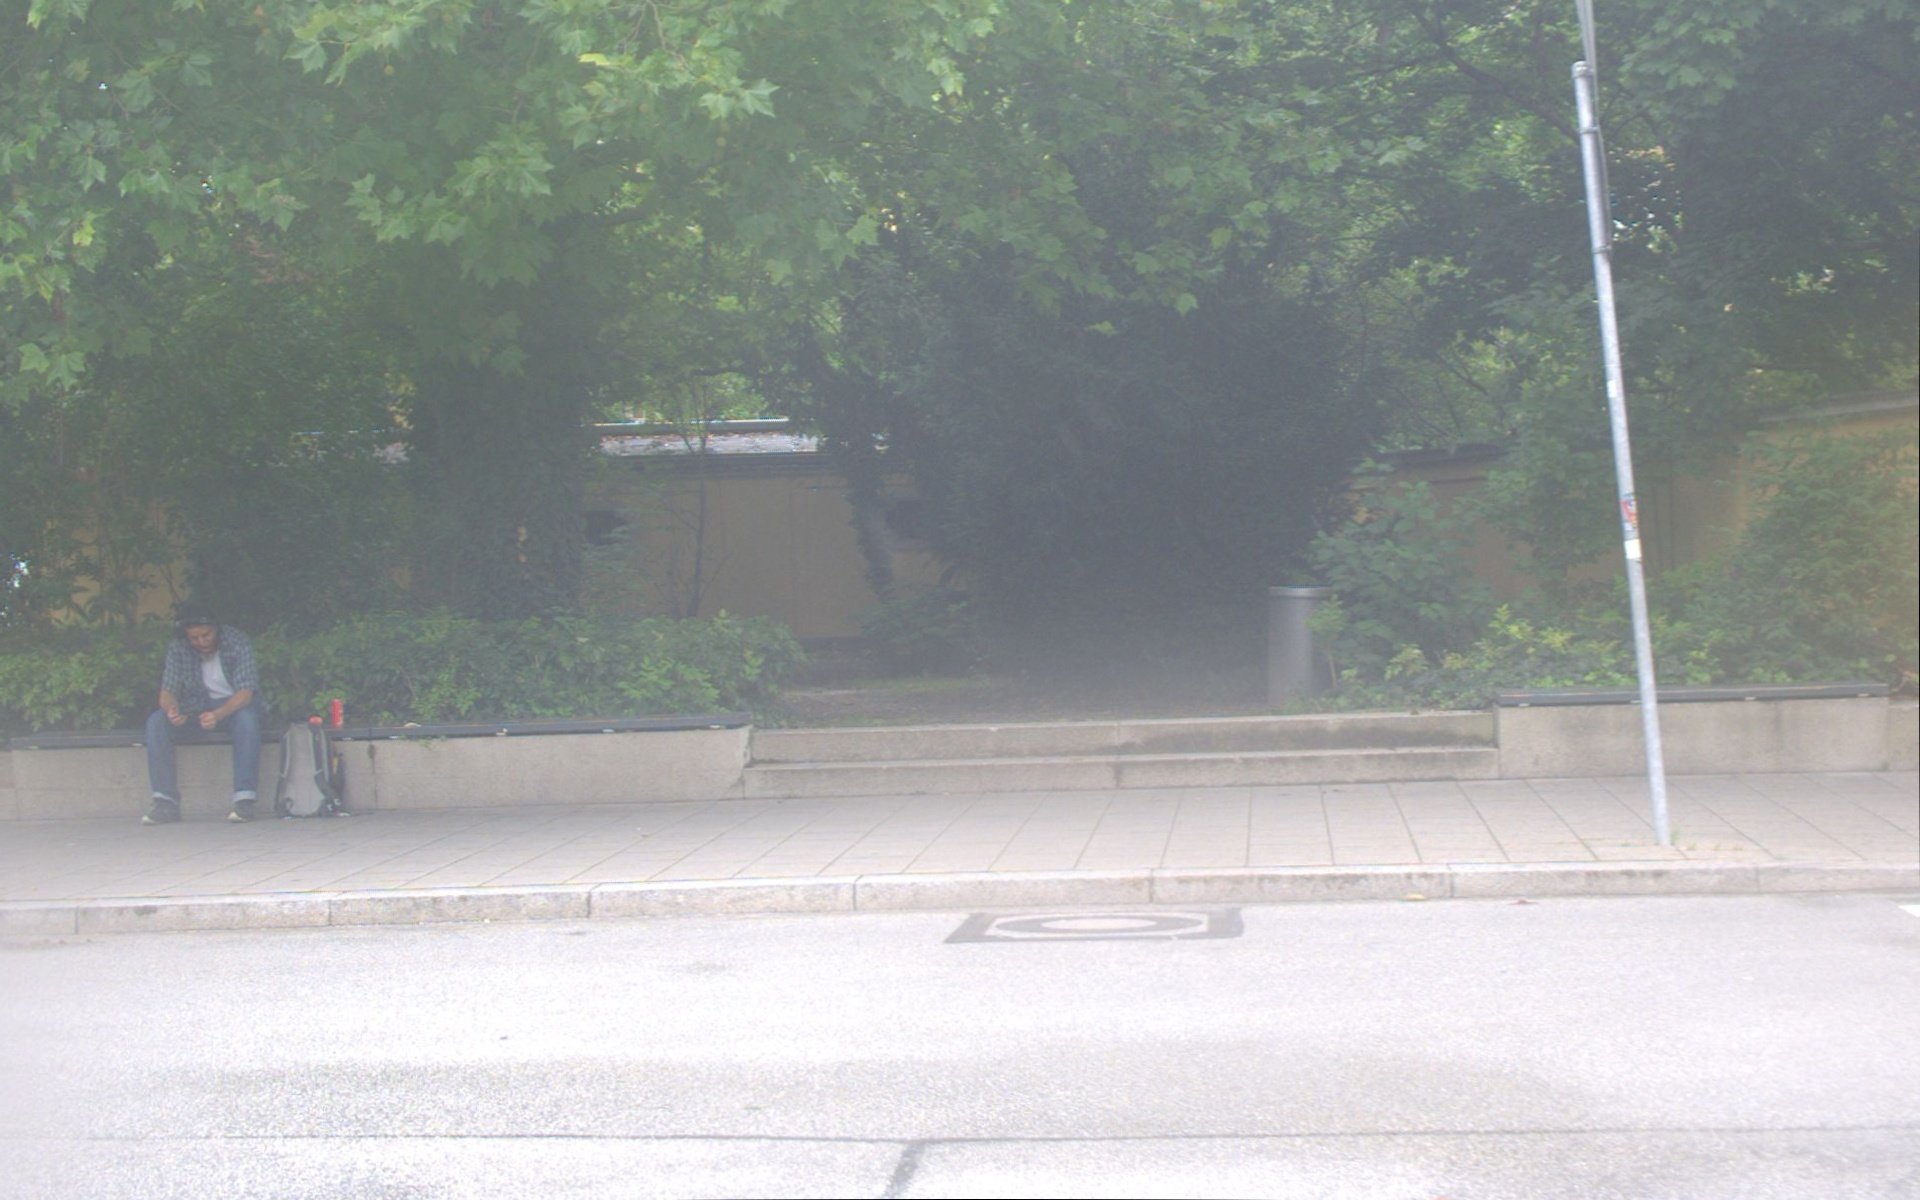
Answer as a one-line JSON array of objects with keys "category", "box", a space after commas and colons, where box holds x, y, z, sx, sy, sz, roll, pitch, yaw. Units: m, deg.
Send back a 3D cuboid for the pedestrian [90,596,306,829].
[{"category": "pedestrian", "box": [-4.067, 0.588, 18.409, 0.812, 1.185, 0.919, -2, 1, 9]}]
